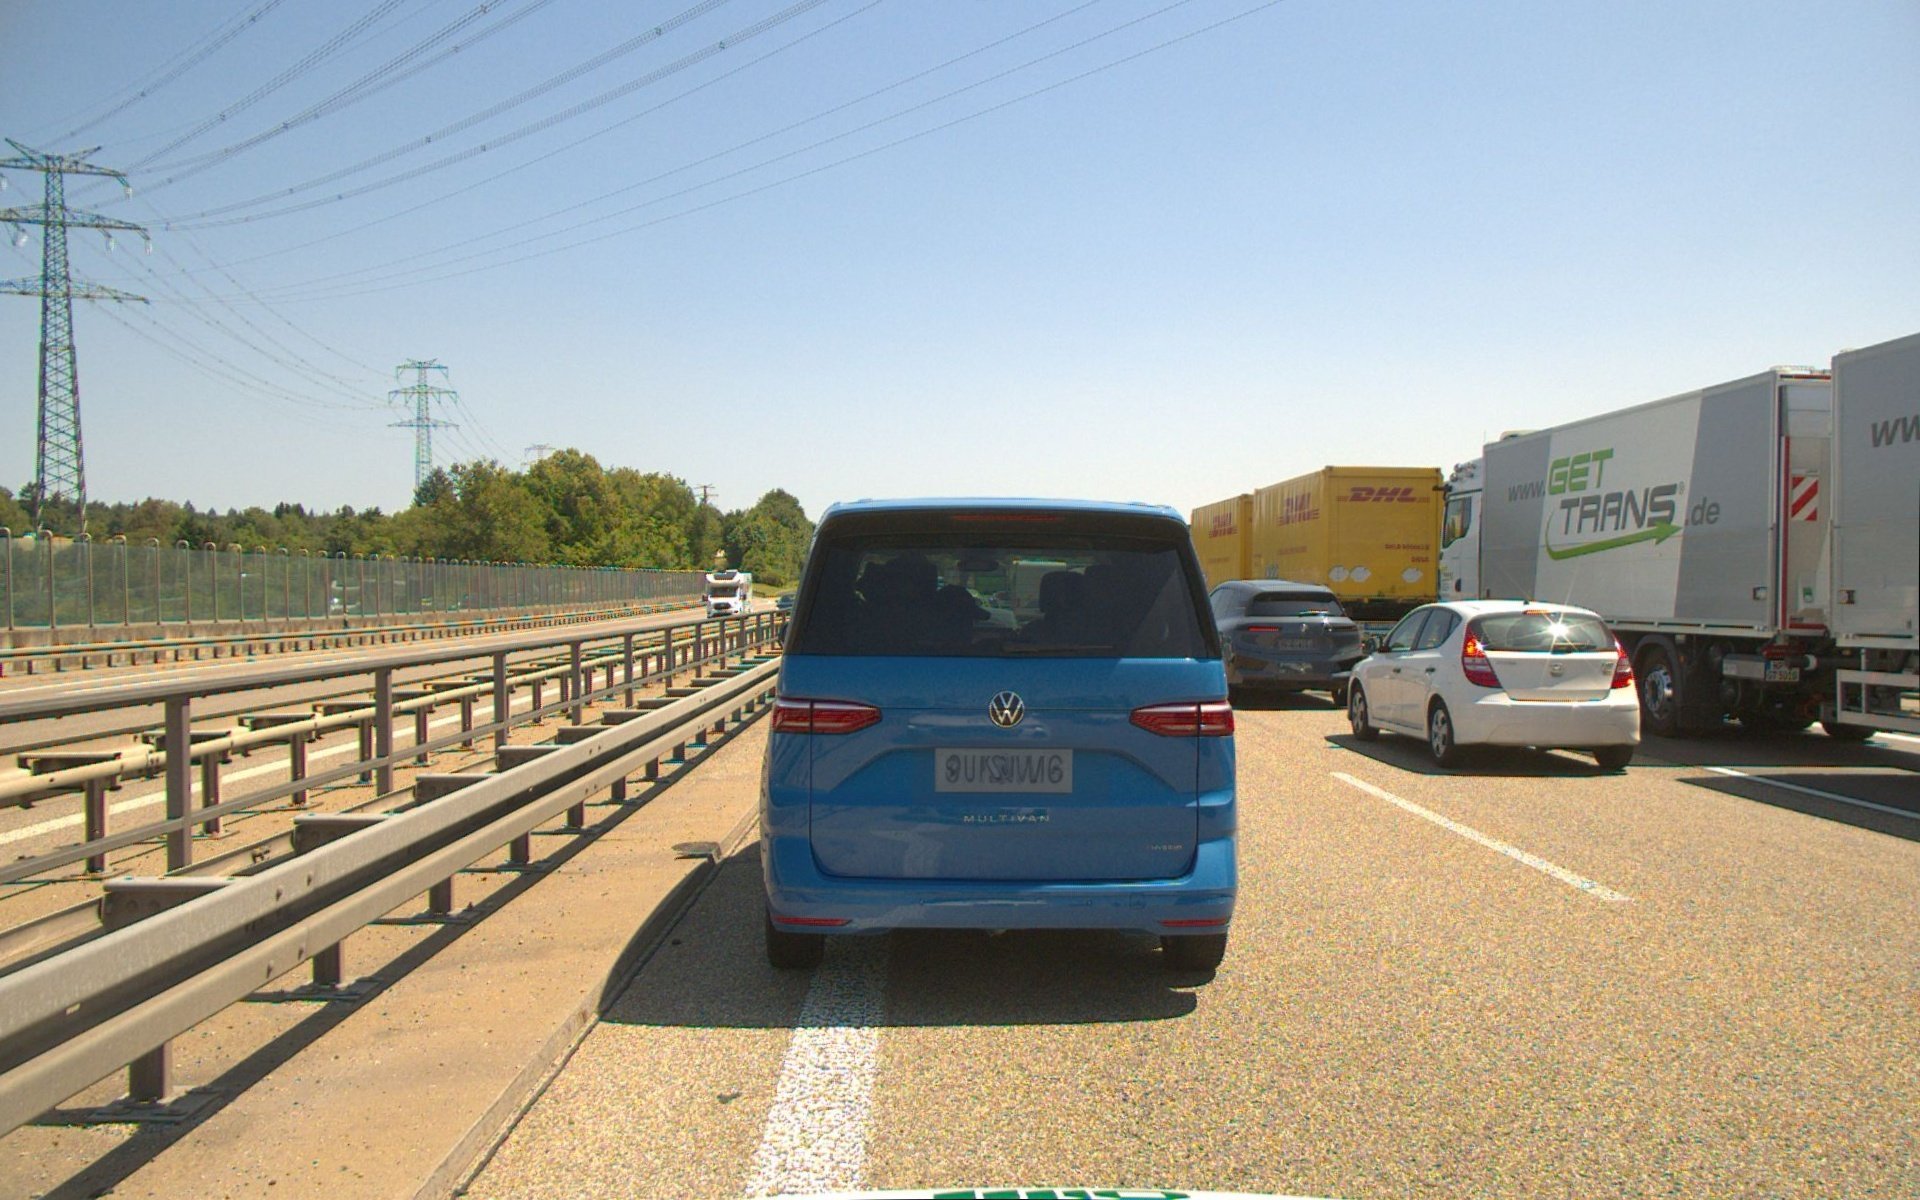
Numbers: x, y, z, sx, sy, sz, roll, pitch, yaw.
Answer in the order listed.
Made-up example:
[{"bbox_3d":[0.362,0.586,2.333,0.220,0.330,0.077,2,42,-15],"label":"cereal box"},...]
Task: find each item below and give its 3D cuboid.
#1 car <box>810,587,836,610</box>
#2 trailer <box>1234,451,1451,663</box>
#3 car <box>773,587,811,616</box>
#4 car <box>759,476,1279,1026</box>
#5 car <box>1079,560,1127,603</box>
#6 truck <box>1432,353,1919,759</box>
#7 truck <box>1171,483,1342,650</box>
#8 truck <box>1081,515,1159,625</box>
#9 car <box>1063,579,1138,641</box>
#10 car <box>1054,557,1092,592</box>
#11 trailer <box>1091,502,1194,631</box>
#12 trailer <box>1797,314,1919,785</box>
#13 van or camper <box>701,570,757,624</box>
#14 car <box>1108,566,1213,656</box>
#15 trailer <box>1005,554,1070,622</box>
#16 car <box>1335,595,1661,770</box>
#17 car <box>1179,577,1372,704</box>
[{"bbox_3d":[-11.541,-0.131,139.255,1.829,1.729,4.429,-3,1,-1],"label":"car"},{"bbox_3d":[8.628,-0.881,38.553,2.806,4.313,9.009,1,0,-1],"label":"trailer"},{"bbox_3d":[-10.042,0.071,99.191,1.830,1.558,4.424,-4,0,-1],"label":"car"},{"bbox_3d":[0.185,0.526,7.796,1.783,1.890,4.074,1,0,-1],"label":"car"},{"bbox_3d":[7.036,-0.869,81.892,1.953,2.049,3.999,1,0,-1],"label":"car"},{"bbox_3d":[8.882,-0.434,20.659,2.603,3.711,11.008,0,0,-1],"label":"truck"},{"bbox_3d":[8.417,-0.884,48.579,2.778,4.317,11.007,1,0,-1],"label":"truck"},{"bbox_3d":[6.928,-1.252,72.376,2.613,4.562,6.848,1,0,-1],"label":"truck"},{"bbox_3d":[4.335,0.290,51.641,1.953,1.847,3.999,0,0,-1],"label":"car"},{"bbox_3d":[6.777,-1.486,99.467,1.953,2.049,4.460,-1,0,-1],"label":"car"},{"bbox_3d":[6.995,-1.239,65.000,2.583,4.595,11.299,1,0,-1],"label":"trailer"},{"bbox_3d":[9.047,-0.393,11.130,2.643,3.765,8.012,0,0,-1],"label":"trailer"},{"bbox_3d":[-13.970,-0.210,100.341,2.373,3.076,7.025,-2,0,-1],"label":"van or camper"},{"bbox_3d":[4.717,0.243,39.517,1.922,2.028,4.292,0,0,-1],"label":"car"},{"bbox_3d":[3.671,-0.544,80.544,2.517,3.042,10.661,1,0,-1],"label":"trailer"},{"bbox_3d":[5.077,0.699,16.257,1.752,1.481,4.292,0,0,-1],"label":"car"},{"bbox_3d":[4.443,0.527,23.953,1.922,1.673,4.292,0,0,-1],"label":"car"}]
